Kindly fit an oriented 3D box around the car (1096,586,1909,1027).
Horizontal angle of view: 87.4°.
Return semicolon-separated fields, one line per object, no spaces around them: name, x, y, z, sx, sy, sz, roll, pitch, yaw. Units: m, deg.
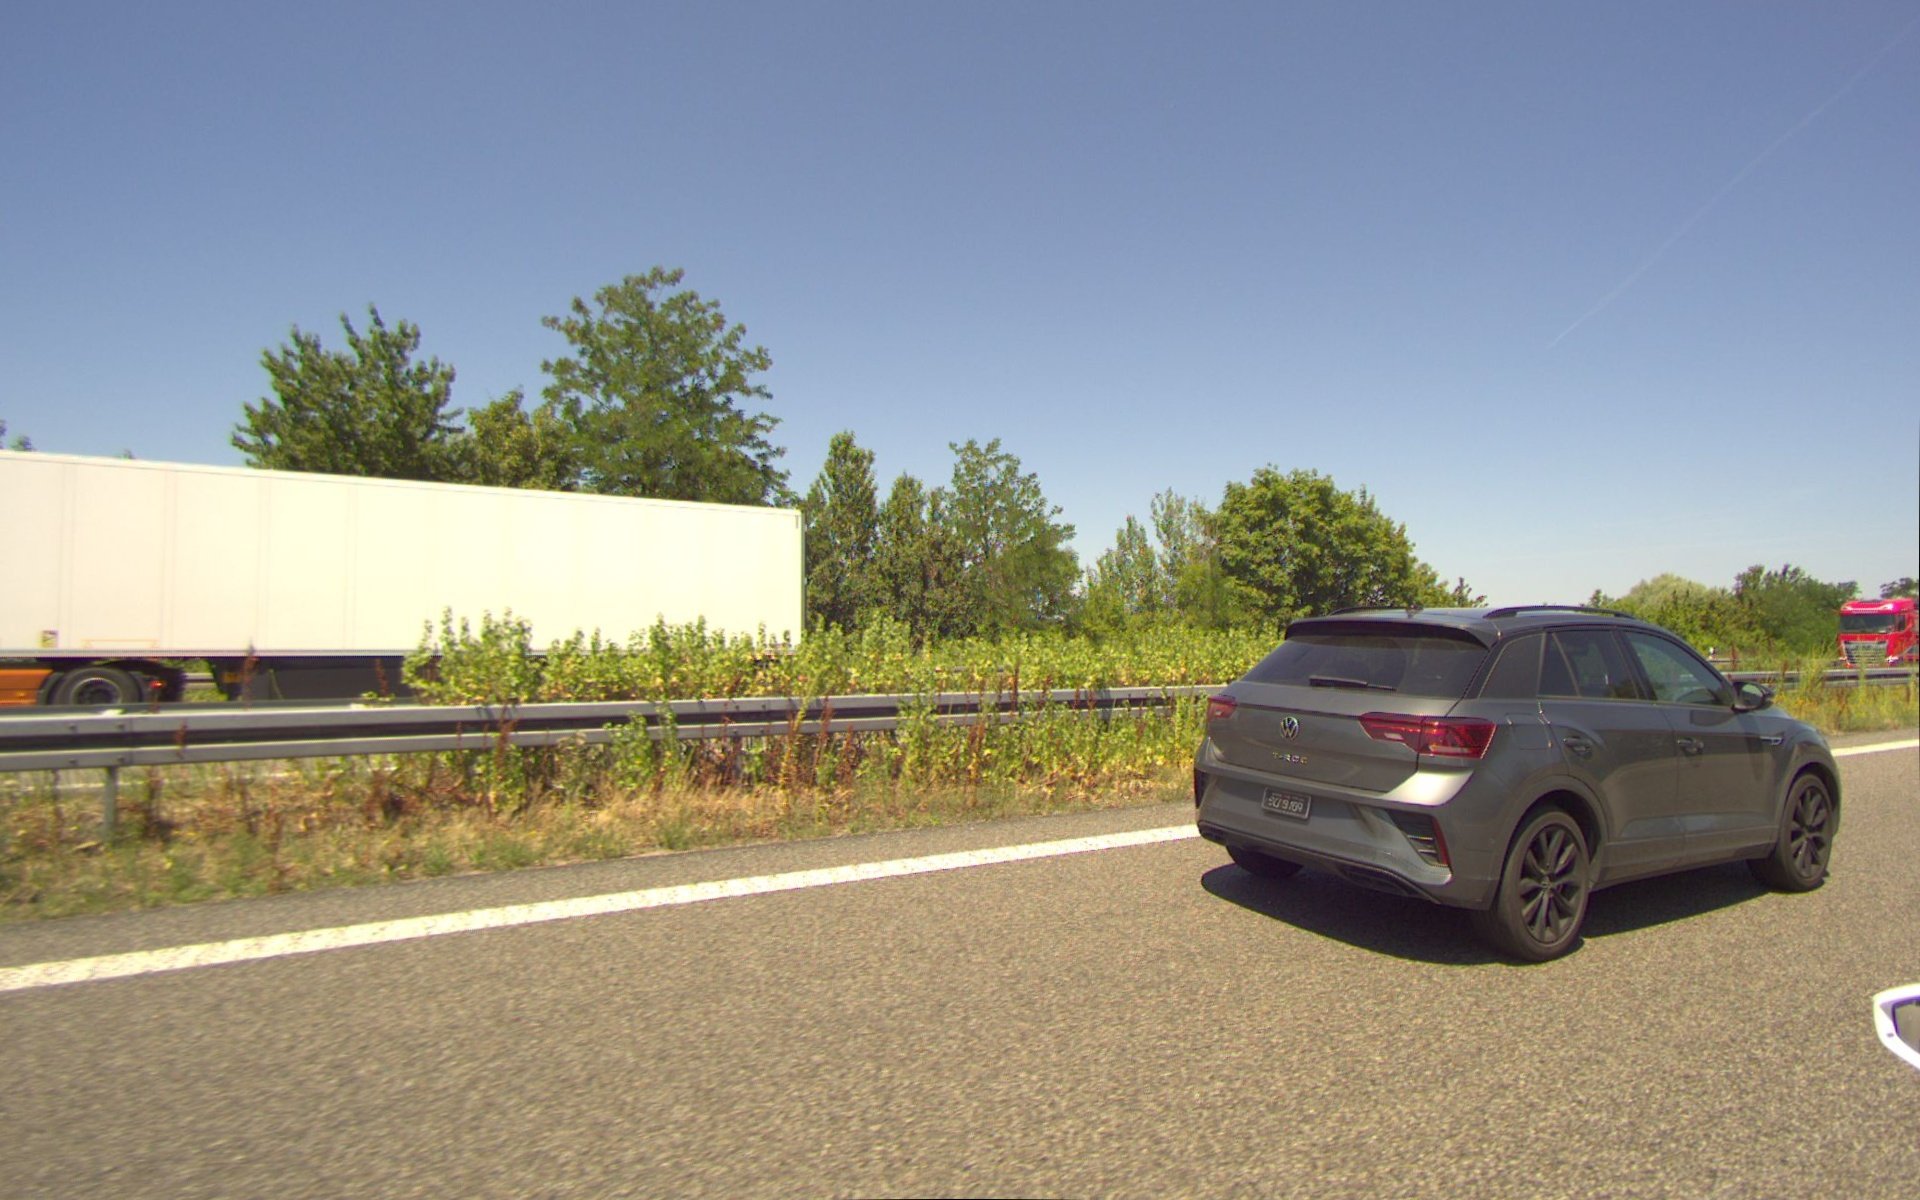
car;3.332;0.794;5.847;4.949;1.662;1.871;0;0;-30

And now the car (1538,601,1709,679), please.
car;15.851;0.891;23.969;3.952;1.727;1.834;0;0;-30

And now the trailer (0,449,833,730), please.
trailer;-8.843;0.065;18.574;12.909;3.986;2.721;2;-4;-30

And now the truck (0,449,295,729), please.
truck;-14.684;-0.104;15.265;7.327;3.986;2.721;1;-4;-30

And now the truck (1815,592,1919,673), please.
truck;47.152;1.689;51.740;5.524;3.920;3.065;1;-2;-29

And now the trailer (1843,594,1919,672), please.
trailer;52.271;1.836;54.616;10.776;3.920;3.065;2;-2;-30

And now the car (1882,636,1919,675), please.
car;42.487;2.431;44.143;4.281;1.666;1.646;2;-2;-30
